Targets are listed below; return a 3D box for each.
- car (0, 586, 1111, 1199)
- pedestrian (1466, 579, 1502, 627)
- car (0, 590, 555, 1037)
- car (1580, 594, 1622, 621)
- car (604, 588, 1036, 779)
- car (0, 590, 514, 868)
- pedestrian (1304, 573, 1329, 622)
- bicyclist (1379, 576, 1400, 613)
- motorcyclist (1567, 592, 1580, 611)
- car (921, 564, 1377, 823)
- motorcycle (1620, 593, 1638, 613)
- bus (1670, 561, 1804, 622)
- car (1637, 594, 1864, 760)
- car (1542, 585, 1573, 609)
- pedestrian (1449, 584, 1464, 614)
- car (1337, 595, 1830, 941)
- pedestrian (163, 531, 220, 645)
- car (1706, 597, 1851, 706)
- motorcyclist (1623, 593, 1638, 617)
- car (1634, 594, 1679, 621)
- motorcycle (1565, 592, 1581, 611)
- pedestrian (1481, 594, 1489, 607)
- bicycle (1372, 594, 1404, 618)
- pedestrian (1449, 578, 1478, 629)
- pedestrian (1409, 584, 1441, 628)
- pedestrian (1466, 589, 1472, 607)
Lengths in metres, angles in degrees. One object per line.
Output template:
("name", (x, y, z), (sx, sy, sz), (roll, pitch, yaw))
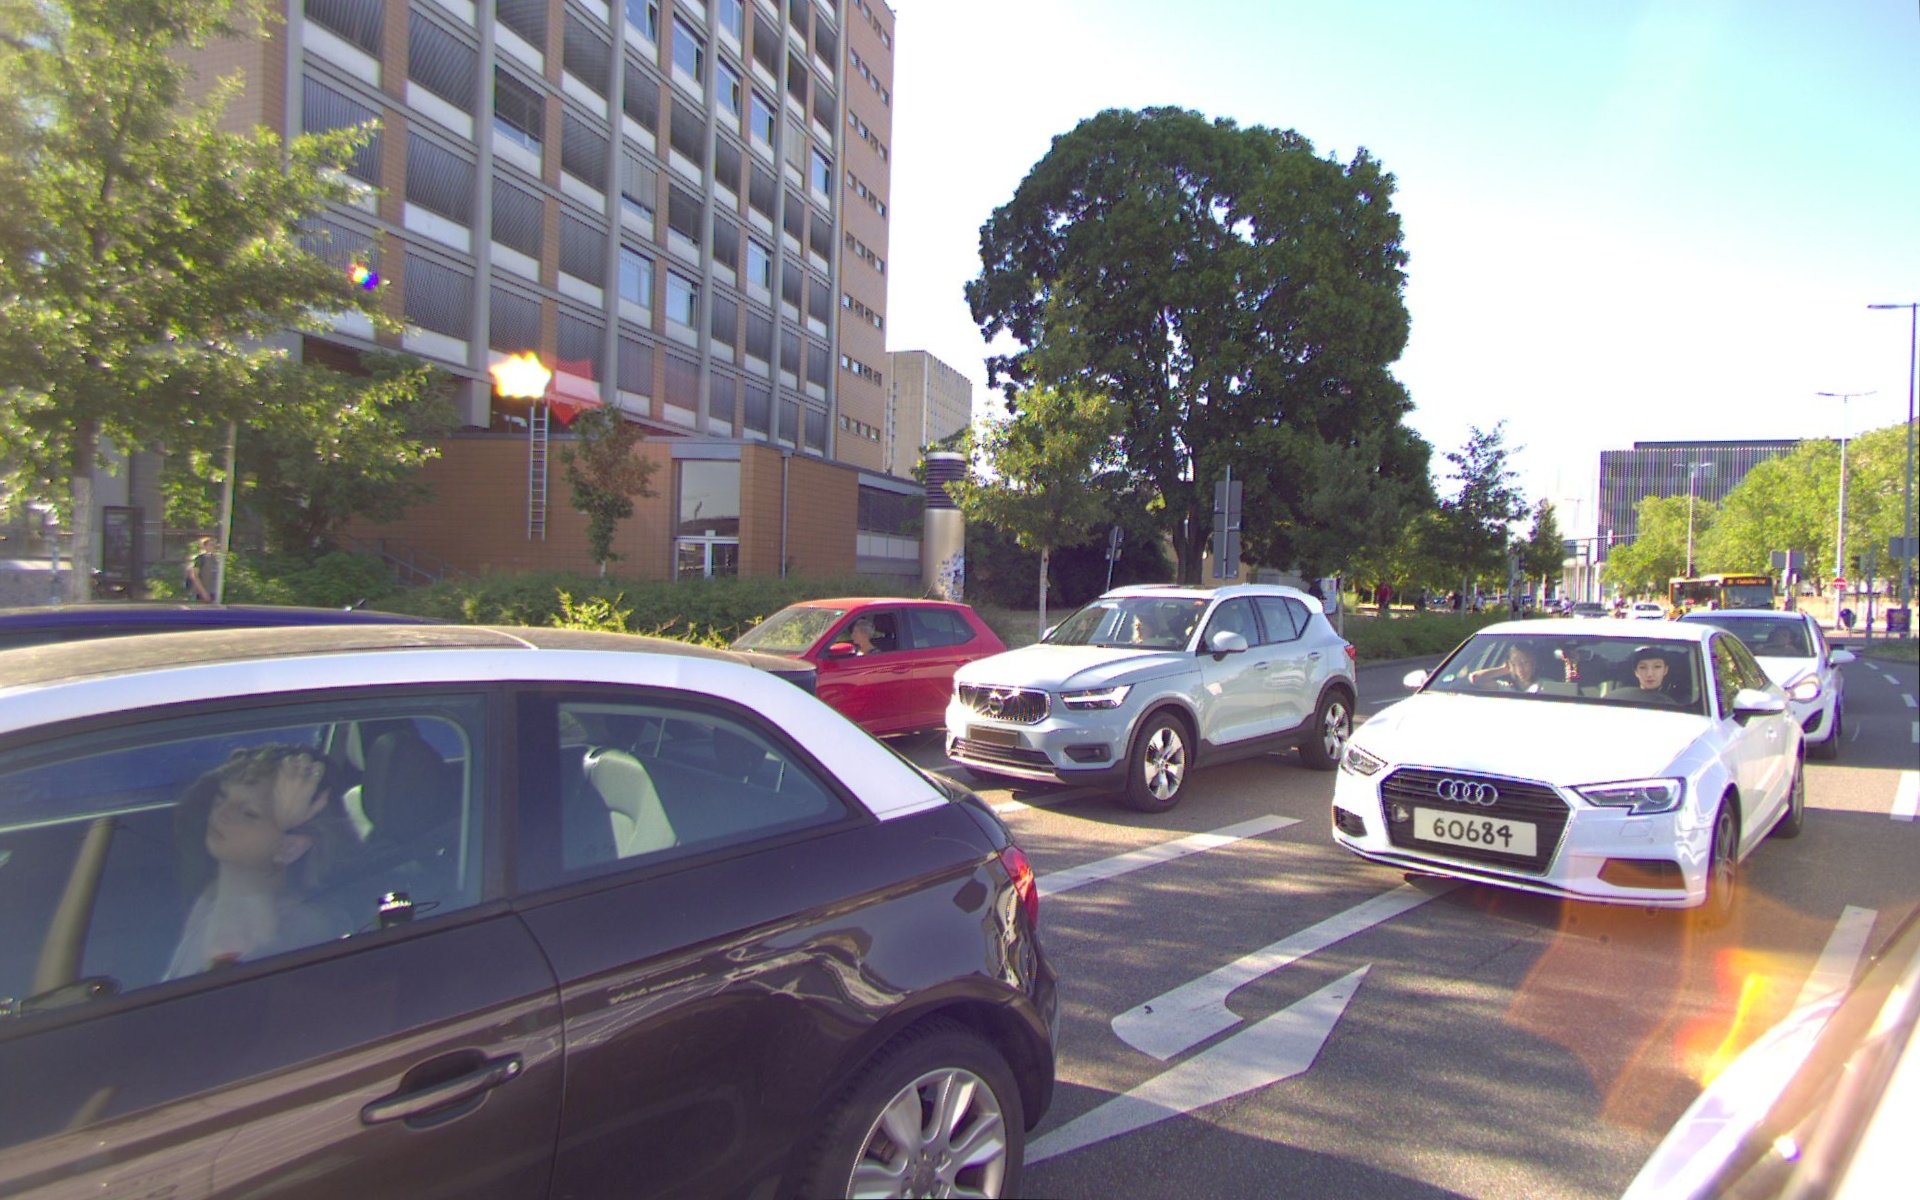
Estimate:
("car", (-1.664, 0.696, 1.641), (3.930, 1.422, 1.626), (-1, 0, -41))
("pedestrian", (22.641, 0.101, 43.715), (1.137, 2.039, 1.268), (0, 0, 39))
("car", (-3.767, 0.686, 3.722), (3.930, 1.422, 1.626), (-1, 0, -41))
("car", (36.223, 0.399, 57.271), (1.741, 1.478, 4.147), (0, 0, 28))
("car", (-1.198, 0.631, 9.845), (3.974, 1.478, 1.625), (-1, 0, -43))
("car", (-5.257, 0.661, 6.072), (4.434, 1.422, 1.725), (-1, 1, -42))
("pedestrian", (11.853, -0.079, 33.625), (0.593, 1.615, 0.586), (0, 0, 41))
("bicyclist", (18.132, -0.234, 42.725), (0.615, 1.580, 0.858), (0, 0, 41))
("motorcyclist", (42.162, 0.101, 69.556), (0.711, 1.321, 0.729), (0, 0, 26))
("car", (1.768, 0.570, 8.460), (4.153, 1.641, 1.625), (-1, 0, -43))
("motorcycle", (44.839, 0.195, 67.807), (0.711, 1.321, 2.215), (0, 0, 26))
("bus", (45.551, -0.503, 59.872), (3.051, 3.252, 12.451), (0, 1, 22))
("car", (8.867, 0.690, 11.225), (1.623, 1.478, 3.979), (0, 1, 43))
("car", (45.943, -0.245, 77.907), (1.730, 1.727, 3.962), (2, 1, 27))
("pedestrian", (34.498, -0.069, 70.271), (0.846, 2.039, 0.824), (0, 0, 34))
("car", (3.939, 0.691, 6.120), (3.769, 1.422, 1.625), (-1, 0, -43))
("pedestrian", (-13.171, -0.205, 17.347), (0.681, 1.910, 0.465), (0, 0, -24))
("car", (13.106, 0.712, 16.120), (1.622, 1.478, 3.981), (0, 1, 42))
("motorcyclist", (44.776, 0.307, 67.585), (0.704, 1.610, 0.684), (0, 0, 25))
("car", (40.207, 0.431, 58.497), (1.741, 1.478, 4.146), (0, 0, 29))
("motorcycle", (42.154, 0.087, 69.590), (0.710, 1.321, 2.216), (0, 0, 25))
("pedestrian", (50.820, 0.051, 97.970), (0.487, 1.254, 0.439), (1, 1, -41))
("bicycle", (18.077, 0.239, 42.722), (0.657, 0.975, 2.005), (2, 2, 41))
("pedestrian", (20.256, 0.142, 40.728), (0.891, 2.039, 0.870), (0, 0, 39))
("pedestrian", (18.792, 0.238, 40.897), (1.005, 1.742, 0.873), (0, 0, 39))
("pedestrian", (49.665, -0.173, 98.755), (0.475, 1.706, 0.399), (1, 1, -41))
